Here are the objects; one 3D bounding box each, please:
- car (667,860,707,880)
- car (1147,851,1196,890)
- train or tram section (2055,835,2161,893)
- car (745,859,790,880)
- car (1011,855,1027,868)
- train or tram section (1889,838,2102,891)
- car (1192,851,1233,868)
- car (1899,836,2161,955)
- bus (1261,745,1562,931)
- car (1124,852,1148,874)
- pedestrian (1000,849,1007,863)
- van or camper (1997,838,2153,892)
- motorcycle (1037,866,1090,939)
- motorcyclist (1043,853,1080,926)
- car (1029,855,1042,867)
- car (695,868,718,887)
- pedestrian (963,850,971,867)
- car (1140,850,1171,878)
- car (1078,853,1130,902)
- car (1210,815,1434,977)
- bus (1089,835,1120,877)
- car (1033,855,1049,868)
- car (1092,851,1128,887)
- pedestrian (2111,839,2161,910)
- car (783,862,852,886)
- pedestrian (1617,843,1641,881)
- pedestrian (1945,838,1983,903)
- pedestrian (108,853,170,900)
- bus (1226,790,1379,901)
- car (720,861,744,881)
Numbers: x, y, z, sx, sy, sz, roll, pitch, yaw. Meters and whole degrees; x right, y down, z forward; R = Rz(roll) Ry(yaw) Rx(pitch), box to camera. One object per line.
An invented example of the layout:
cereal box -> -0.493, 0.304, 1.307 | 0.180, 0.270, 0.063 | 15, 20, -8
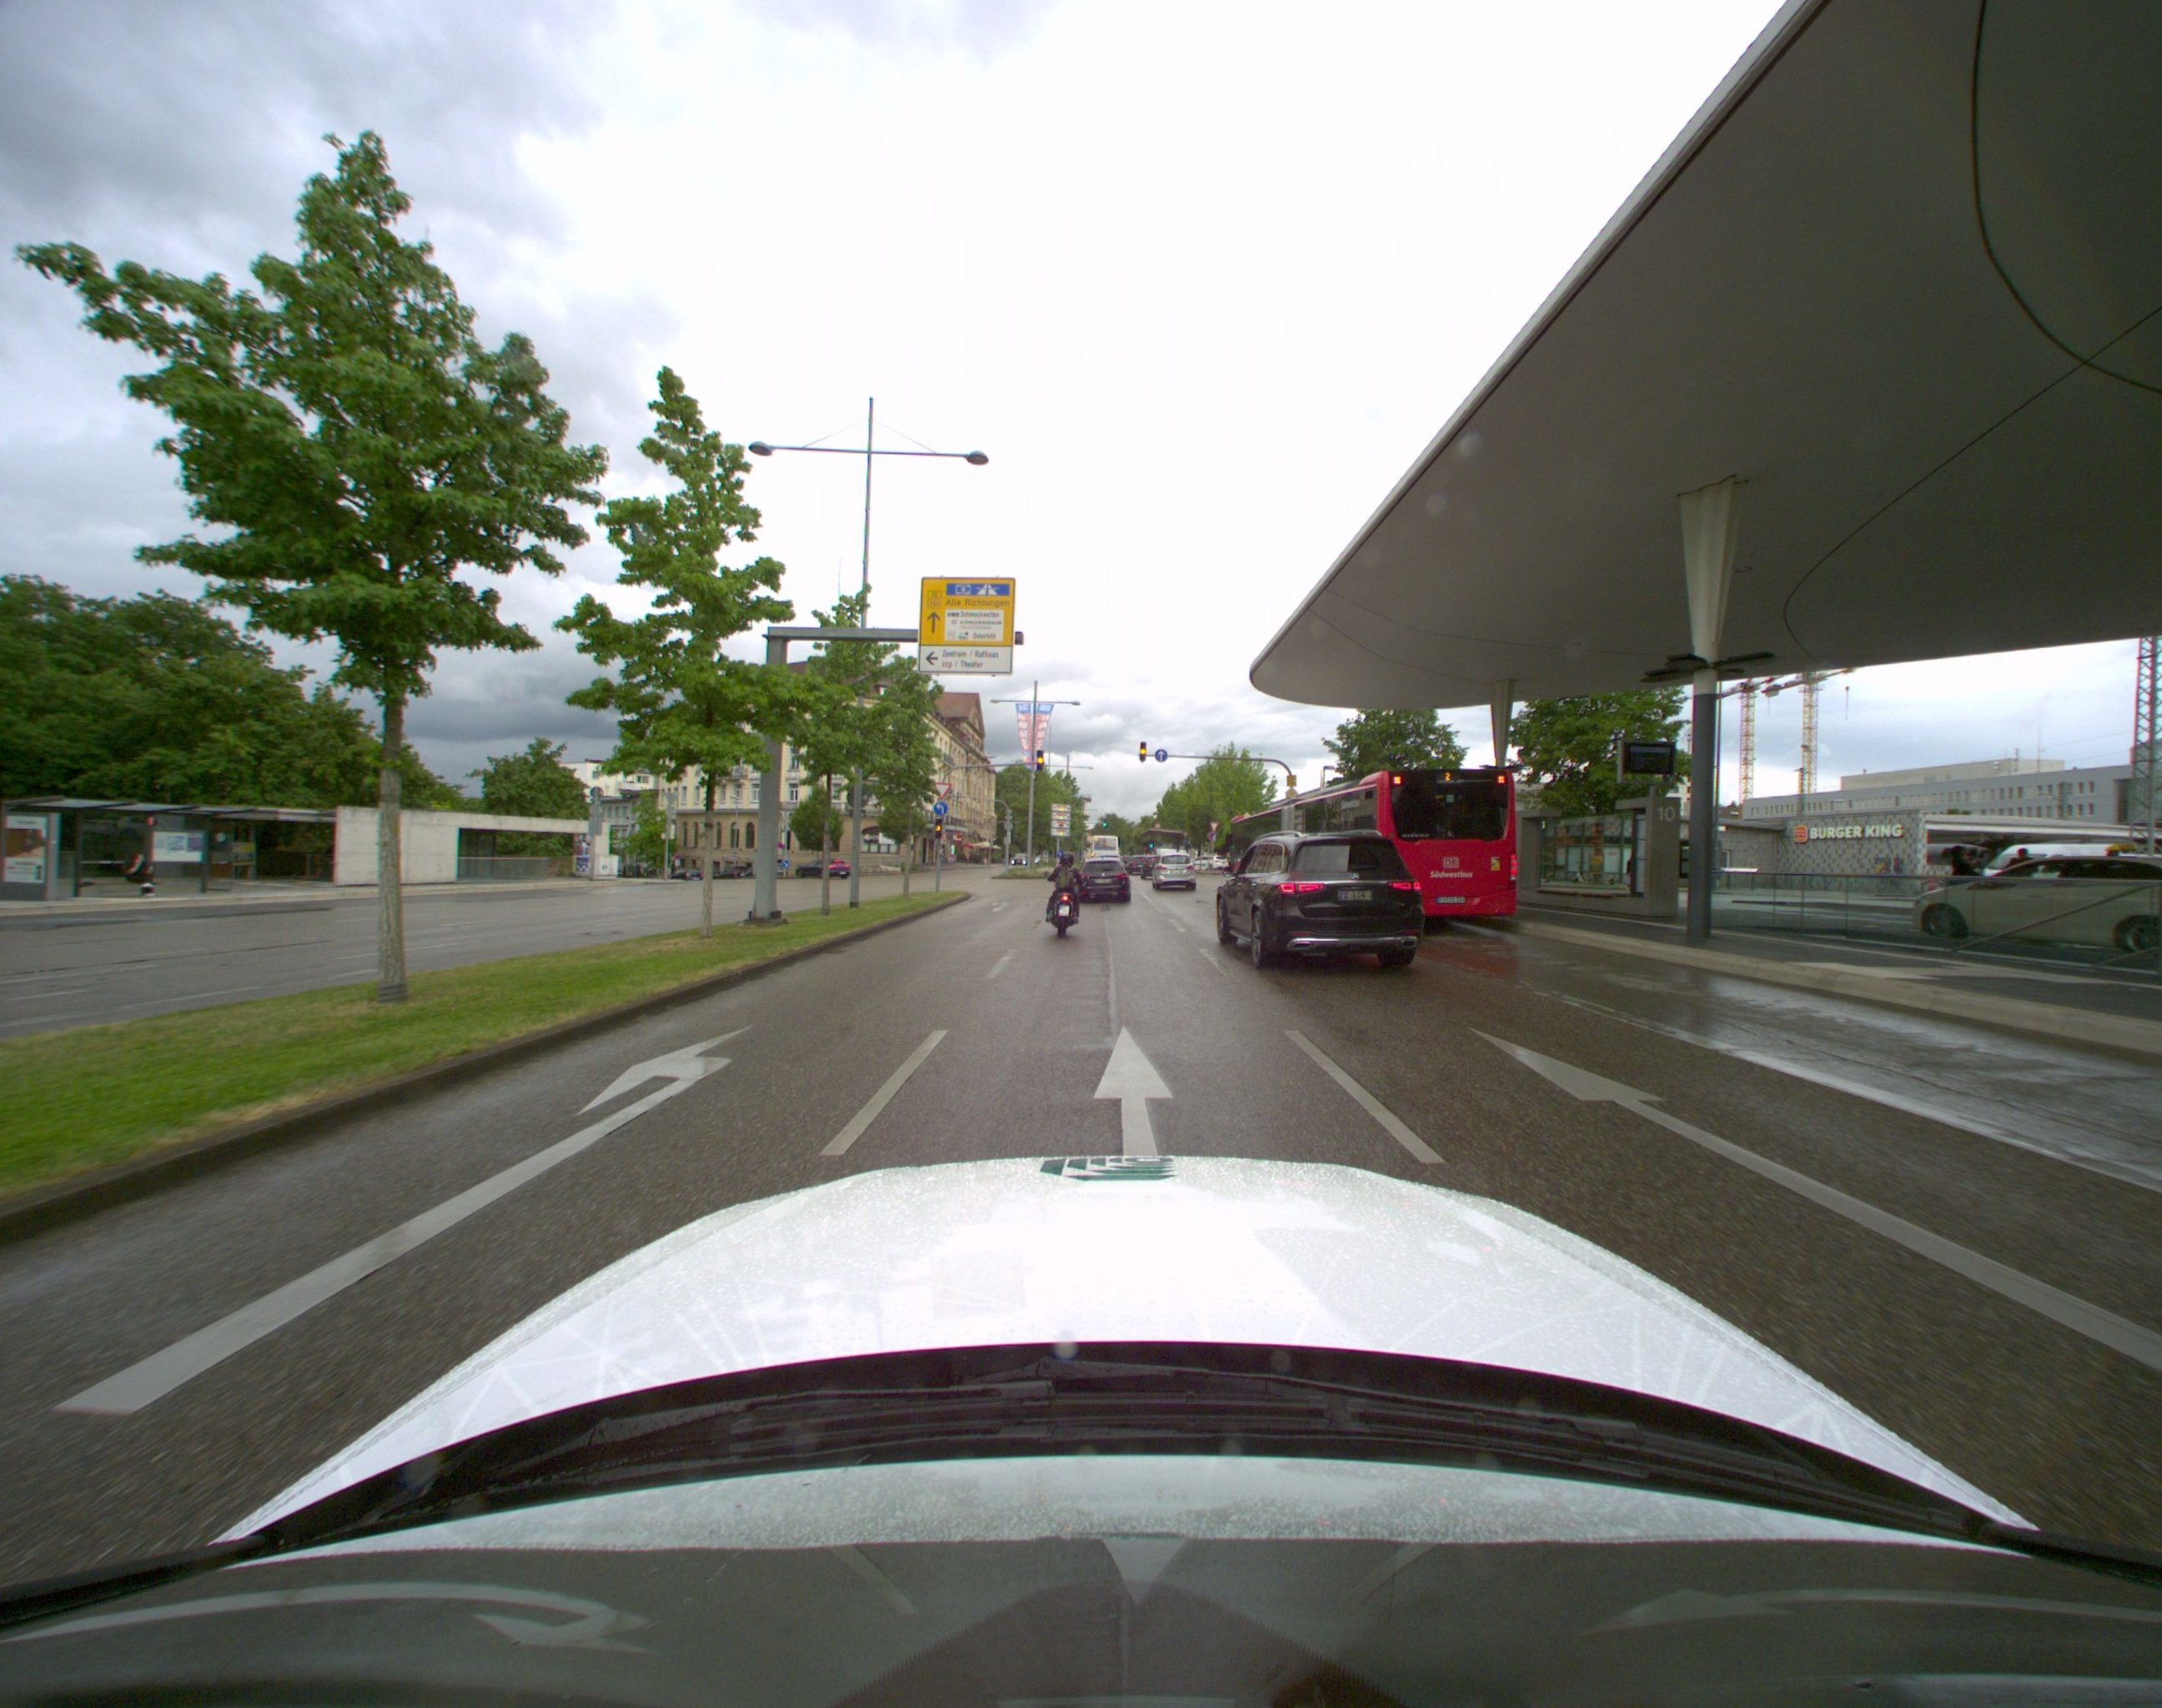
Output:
car -> -33.767, 1.380, 69.761 | 3.659, 1.628, 1.853 | 0, -1, 42
car -> 3.852, 0.667, 35.127 | 1.735, 1.567, 3.872 | -1, 0, 1
train or tram section -> 72.098, 0.713, 53.133 | 3.121, 3.659, 11.616 | 4, 0, 1
car -> -26.548, 1.288, 68.905 | 2.131, 1.776, 4.340 | 0, -1, -41
car -> -8.025, 0.936, 105.615 | 1.773, 1.567, 3.430 | -1, 0, 1
train or tram section -> 72.249, 0.785, 65.078 | 3.121, 3.659, 12.323 | 4, 0, 1
car -> 12.641, 0.573, 78.288 | 1.588, 1.567, 3.752 | -1, 0, -38
car -> 15.983, 0.612, 12.944 | 1.706, 1.662, 4.239 | 2, 0, 0
bus -> 7.062, -0.270, 19.888 | 3.274, 3.292, 10.882 | 0, 0, 2
car -> 4.105, 0.645, 60.783 | 1.570, 1.567, 3.797 | -1, 0, 1
pedestrian -> -11.077, 0.272, 116.366 | 0.727, 1.966, 0.819 | 0, -1, -25
van or camper -> 44.484, 0.498, 36.509 | 4.675, 2.270, 2.108 | 1, -1, -3
motorcycle -> -0.304, 0.874, 15.445 | 0.789, 1.262, 1.857 | -1, 0, 5
motorcyclist -> -0.363, 0.657, 15.461 | 0.638, 1.347, 0.689 | 0, 0, 4
car -> -6.222, 1.002, 111.856 | 1.570, 1.567, 3.430 | -1, 0, 1
car -> -34.944, 2.146, 76.037 | 1.668, 1.604, 3.222 | -3, 1, -29
pedestrian -> -13.603, 0.583, 97.506 | 0.727, 2.014, 0.819 | 0, -1, -25
car -> 4.463, 0.596, 49.155 | 1.570, 1.567, 3.872 | -1, 0, 1
car -> 0.793, 0.733, 27.353 | 1.569, 1.504, 3.873 | -1, 0, 2
car -> 3.266, 0.503, 12.159 | 1.950, 1.876, 4.874 | -1, 0, 1
bus -> 2.308, 0.243, 82.850 | 2.828, 3.988, 11.864 | 0, -1, 1
car -> -5.110, 0.968, 103.723 | 1.773, 1.567, 3.430 | -1, 0, 1
car -> 1.317, 0.663, 37.799 | 1.570, 1.567, 3.872 | -1, 0, 1
pedestrian -> 24.488, 0.478, 18.827 | 0.583, 1.579, 0.765 | 7, -5, -31
car -> -18.484, 1.384, 57.164 | 4.351, 1.570, 1.832 | -2, 0, 21
pedestrian -> 24.218, 0.362, 36.018 | 0.601, 1.579, 0.674 | 4, -4, 7
pedestrian -> 22.202, 0.413, 20.483 | 0.574, 1.579, 0.777 | 1, -5, 41
pedestrian -> -27.459, 0.644, 23.741 | 0.967, 1.267, 0.854 | 4, 1, 22
bus -> 7.385, -0.235, 28.693 | 3.278, 3.289, 8.853 | 0, 0, 2
car -> -31.048, 1.503, 72.496 | 1.668, 1.604, 3.223 | -3, 1, -28
